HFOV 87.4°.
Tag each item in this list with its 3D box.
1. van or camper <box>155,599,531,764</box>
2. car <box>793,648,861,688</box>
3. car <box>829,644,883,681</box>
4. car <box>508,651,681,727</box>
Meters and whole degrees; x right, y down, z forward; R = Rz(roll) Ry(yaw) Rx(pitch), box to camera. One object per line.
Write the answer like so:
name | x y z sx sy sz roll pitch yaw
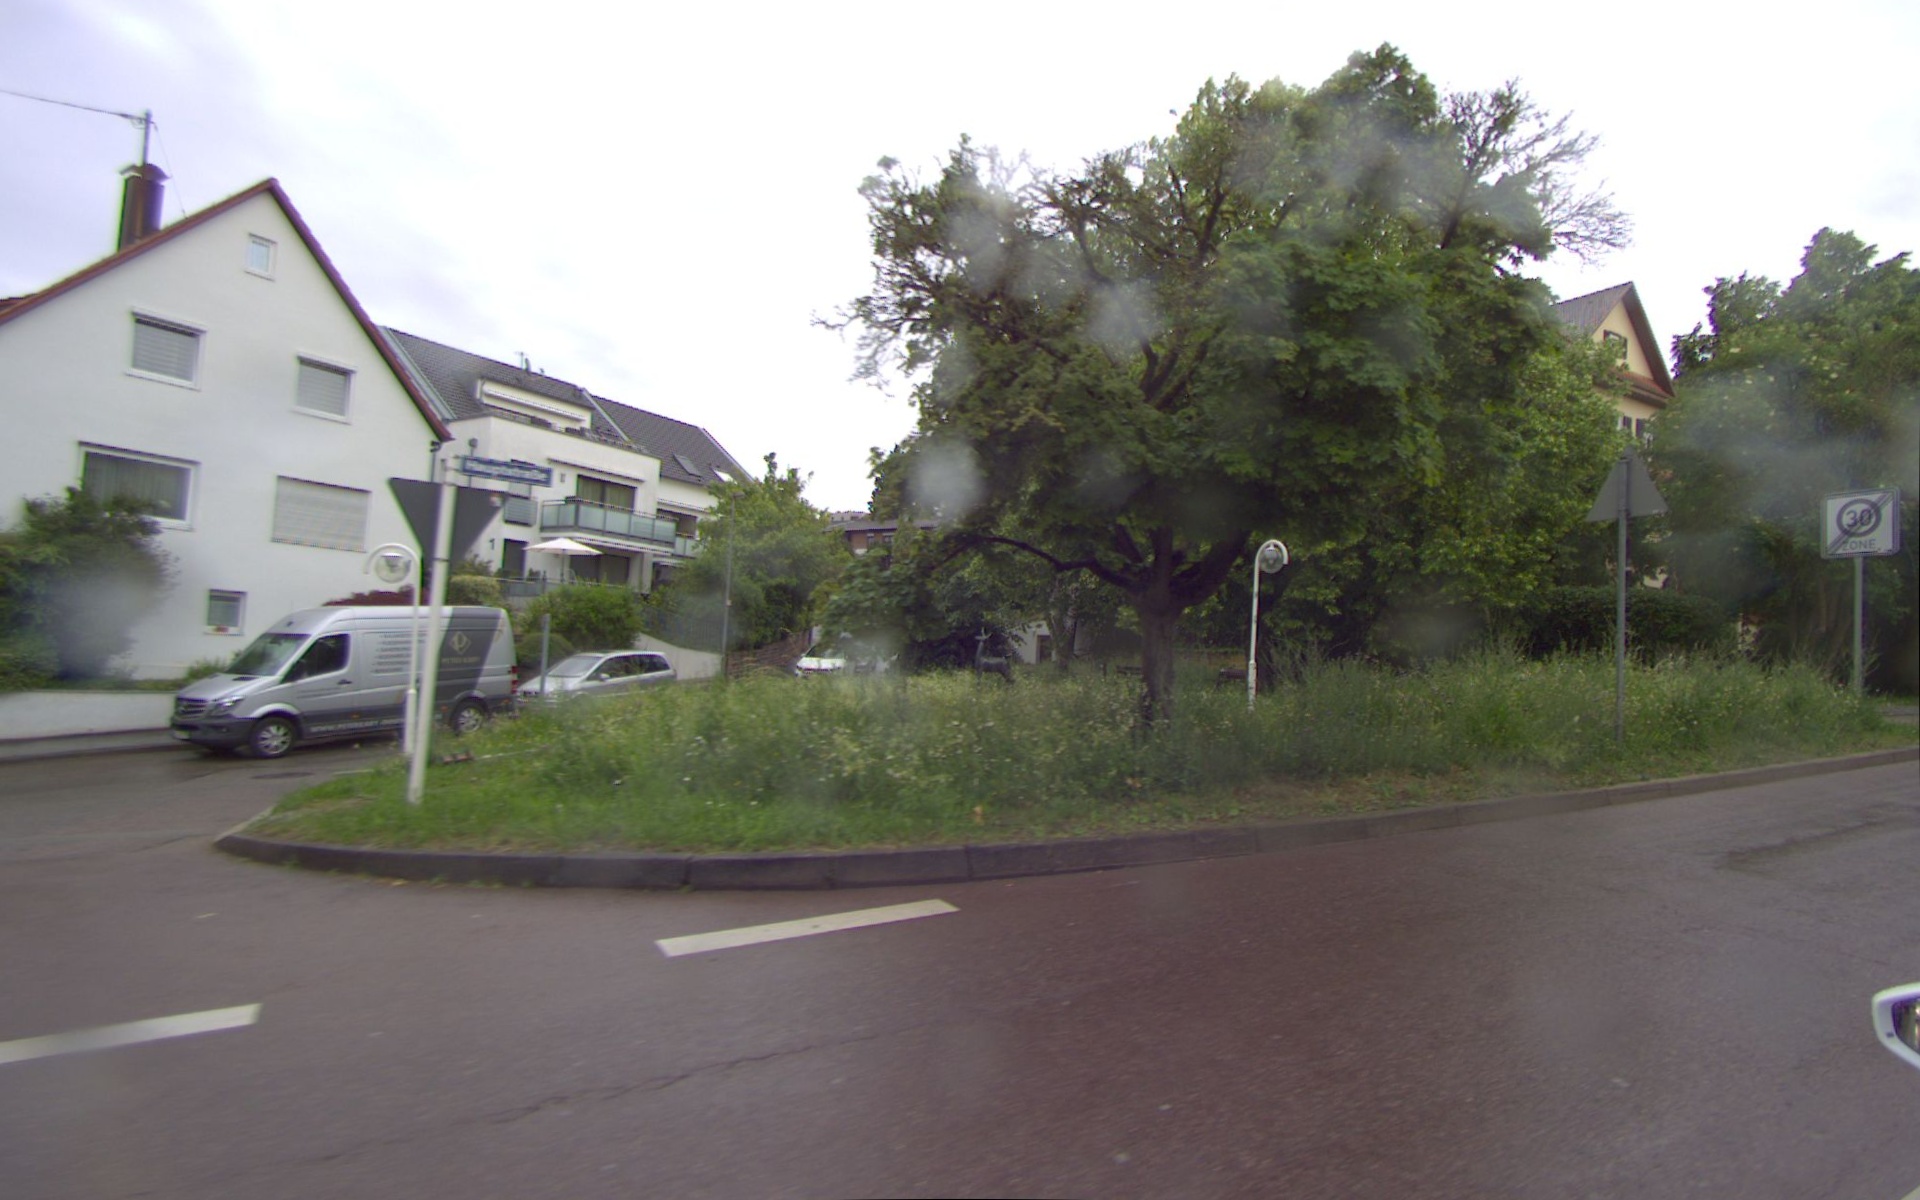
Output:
van or camper | -11.367 1.372 19.193 1.612 2.591 6.055 2 0 29
car | -4.955 2.542 37.959 1.687 1.270 3.977 1 -1 5
car | -4.498 2.681 43.849 1.875 1.408 4.001 1 -1 1
car | -8.753 2.084 24.439 1.531 1.569 4.036 1 -1 25
